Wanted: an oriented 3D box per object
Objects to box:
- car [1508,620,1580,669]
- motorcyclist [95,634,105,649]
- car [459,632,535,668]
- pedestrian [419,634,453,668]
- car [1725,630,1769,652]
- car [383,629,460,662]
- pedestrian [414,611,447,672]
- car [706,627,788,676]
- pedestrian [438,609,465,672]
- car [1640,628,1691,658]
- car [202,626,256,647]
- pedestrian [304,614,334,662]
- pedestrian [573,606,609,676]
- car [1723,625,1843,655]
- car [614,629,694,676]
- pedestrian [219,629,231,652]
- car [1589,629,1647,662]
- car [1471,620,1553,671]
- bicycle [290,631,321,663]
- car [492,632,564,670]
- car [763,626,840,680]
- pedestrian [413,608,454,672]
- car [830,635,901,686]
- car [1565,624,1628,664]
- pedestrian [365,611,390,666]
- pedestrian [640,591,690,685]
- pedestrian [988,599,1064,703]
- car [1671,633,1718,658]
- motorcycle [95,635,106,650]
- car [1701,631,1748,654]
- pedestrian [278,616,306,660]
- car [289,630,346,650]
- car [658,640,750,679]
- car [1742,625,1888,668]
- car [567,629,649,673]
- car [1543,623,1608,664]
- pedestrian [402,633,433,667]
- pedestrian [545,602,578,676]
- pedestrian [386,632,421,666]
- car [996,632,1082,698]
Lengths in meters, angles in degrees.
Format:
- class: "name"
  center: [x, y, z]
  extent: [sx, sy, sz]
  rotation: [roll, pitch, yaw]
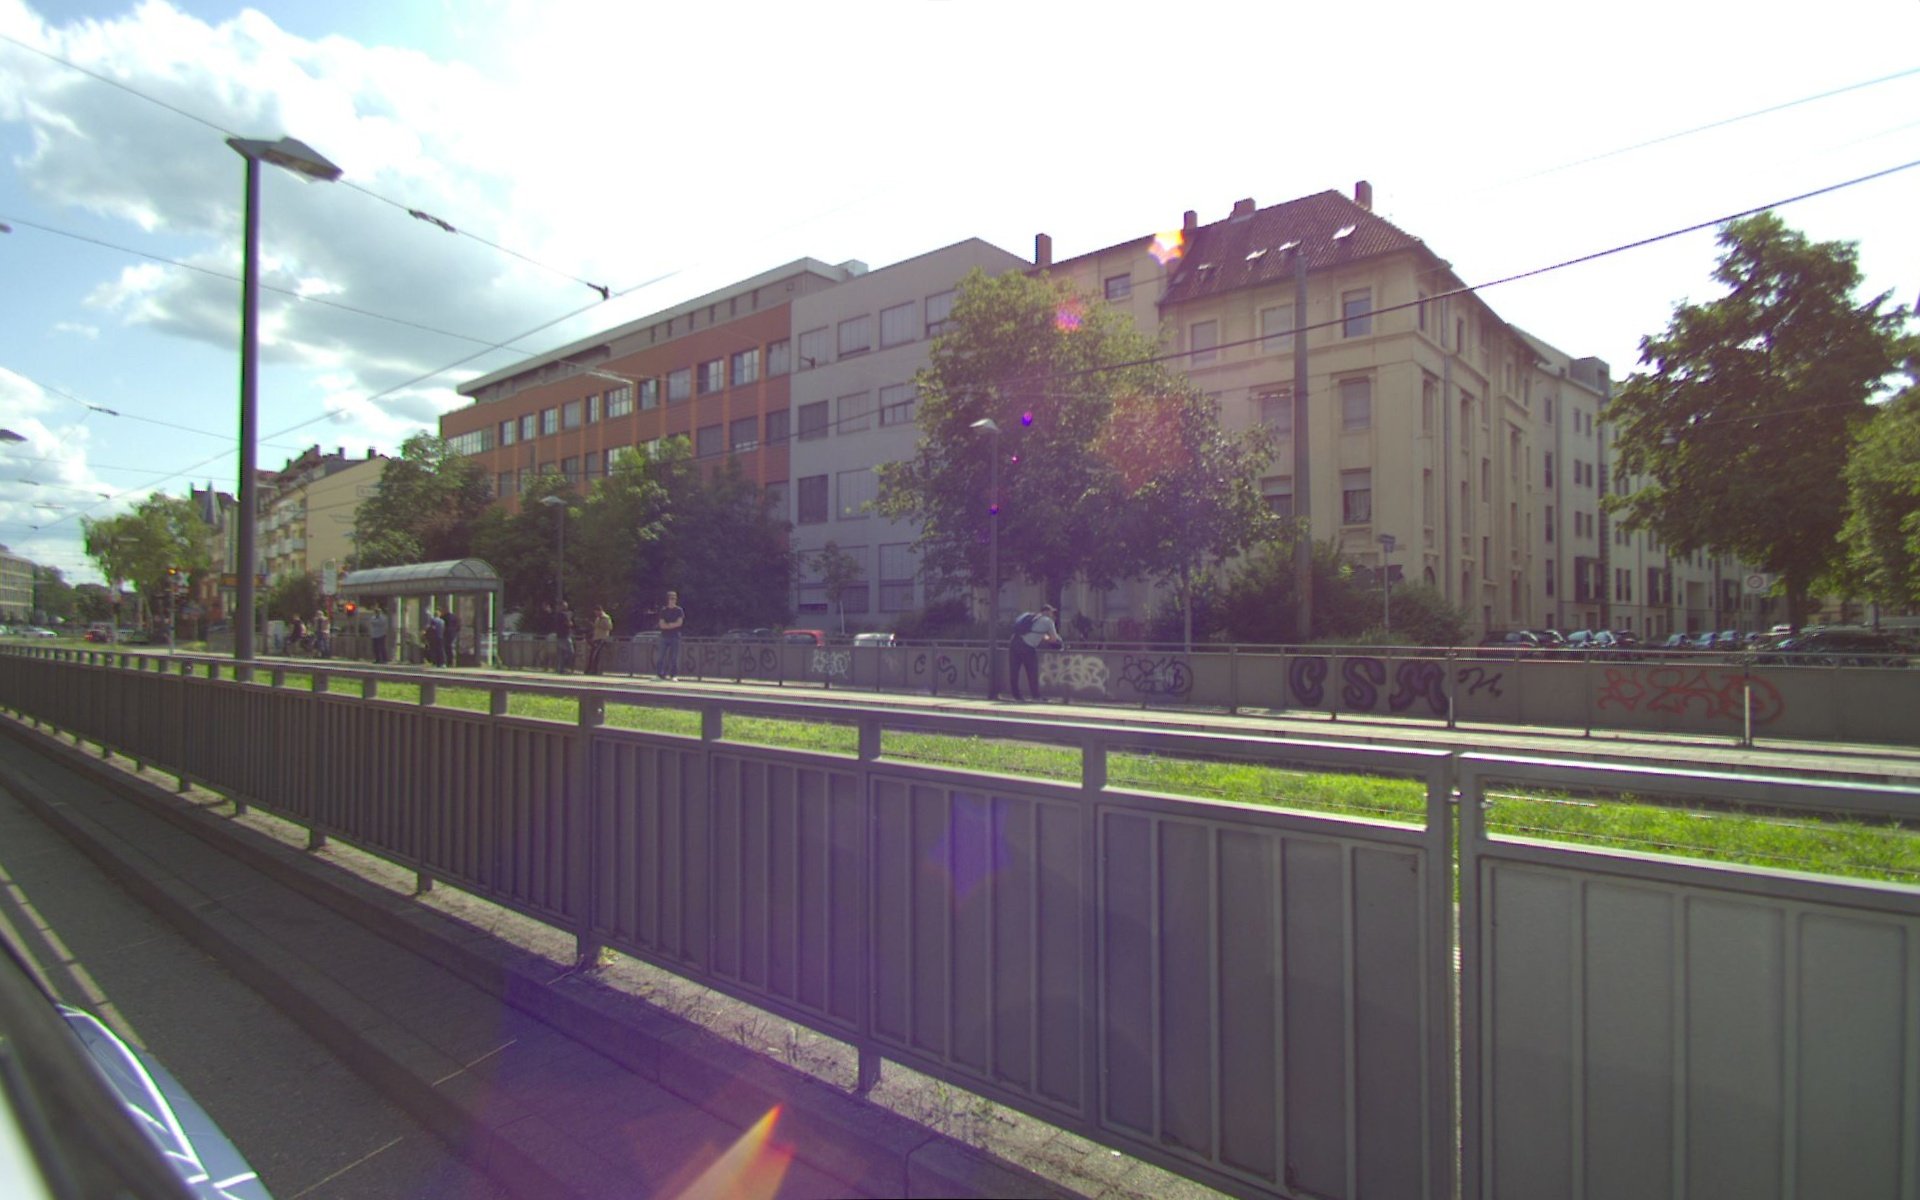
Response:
- class: "car"
  center: [23.626, 1.801, 40.909]
  extent: [1.823, 1.845, 3.945]
  rotation: [-1, -3, 41]
- class: "motorcyclist"
  center: [-85.678, 4.136, 100.848]
  extent: [0.693, 1.368, 0.654]
  rotation: [-1, 0, 43]
- class: "car"
  center: [-21.075, 2.260, 46.188]
  extent: [1.568, 1.431, 3.302]
  rotation: [-1, 0, 10]
- class: "pedestrian"
  center: [-15.894, 1.552, 30.693]
  extent: [0.562, 1.002, 0.698]
  rotation: [-1, -4, 38]
- class: "car"
  center: [58.070, 3.042, 74.644]
  extent: [3.937, 1.490, 1.827]
  rotation: [3, -3, -40]
- class: "car"
  center: [-27.663, 2.317, 52.127]
  extent: [1.850, 1.671, 3.841]
  rotation: [0, -2, 2]
- class: "pedestrian"
  center: [-14.644, 1.143, 27.993]
  extent: [0.556, 1.645, 0.593]
  rotation: [-2, -3, 27]
- class: "car"
  center: [-7.335, 1.753, 35.166]
  extent: [1.590, 1.580, 3.991]
  rotation: [-1, -2, 7]
- class: "pedestrian"
  center: [-15.052, 1.195, 29.956]
  extent: [0.623, 1.841, 0.438]
  rotation: [-1, -2, 38]
- class: "car"
  center: [41.535, 2.535, 59.561]
  extent: [3.941, 1.639, 1.825]
  rotation: [3, -3, -45]
- class: "car"
  center: [-72.625, 3.632, 100.528]
  extent: [4.195, 2.029, 2.003]
  rotation: [1, -3, -40]
- class: "pedestrian"
  center: [-23.338, 1.377, 36.852]
  extent: [0.798, 1.737, 0.632]
  rotation: [-1, -2, 38]
- class: "pedestrian"
  center: [-9.110, 0.998, 24.991]
  extent: [0.624, 1.687, 0.600]
  rotation: [-1, -2, 41]
- class: "car"
  center: [38.796, 1.883, 47.797]
  extent: [3.949, 1.376, 1.870]
  rotation: [0, -2, 5]
- class: "car"
  center: [-11.675, 1.969, 38.867]
  extent: [1.651, 1.540, 3.995]
  rotation: [-2, 0, 4]
- class: "pedestrian"
  center: [-56.832, 3.133, 78.239]
  extent: [0.481, 1.723, 0.641]
  rotation: [-2, -3, 42]
- class: "car"
  center: [34.327, 2.369, 52.797]
  extent: [1.824, 1.615, 3.942]
  rotation: [-1, -3, 44]
- class: "car"
  center: [20.180, 1.665, 36.925]
  extent: [1.823, 1.746, 3.945]
  rotation: [-1, -3, 41]
- class: "bicycle"
  center: [-23.713, 1.696, 36.674]
  extent: [0.653, 1.122, 1.880]
  rotation: [4, -4, -41]
- class: "car"
  center: [-18.692, 2.184, 43.893]
  extent: [1.651, 1.420, 3.063]
  rotation: [1, 0, 5]
- class: "car"
  center: [-5.126, 1.705, 33.298]
  extent: [1.809, 1.652, 4.134]
  rotation: [1, -2, 1]
- class: "pedestrian"
  center: [-14.875, 1.125, 28.574]
  extent: [1.035, 1.756, 0.626]
  rotation: [-1, -2, 38]
- class: "car"
  center: [-2.817, 1.809, 31.032]
  extent: [1.791, 1.402, 4.022]
  rotation: [-1, -2, 0]
- class: "car"
  center: [30.912, 2.147, 49.128]
  extent: [1.824, 1.845, 3.942]
  rotation: [-1, -3, 44]
- class: "pedestrian"
  center: [-18.533, 1.217, 32.181]
  extent: [0.623, 1.739, 0.481]
  rotation: [-1, -1, 39]
- class: "pedestrian"
  center: [-6.176, 0.784, 21.188]
  extent: [0.639, 1.906, 0.742]
  rotation: [1, 0, 43]
- class: "pedestrian"
  center: [1.051, 0.793, 16.054]
  extent: [0.798, 1.590, 0.979]
  rotation: [-1, -2, 38]
- class: "car"
  center: [47.036, 2.929, 64.819]
  extent: [3.941, 1.490, 1.825]
  rotation: [3, -3, -45]
- class: "motorcycle"
  center: [-85.703, 4.201, 100.898]
  extent: [2.010, 1.414, 0.626]
  rotation: [-1, 0, 43]
- class: "car"
  center: [52.074, 2.879, 68.938]
  extent: [3.938, 1.490, 1.826]
  rotation: [3, -3, -42]
- class: "pedestrian"
  center: [-26.772, 1.511, 40.552]
  extent: [0.798, 1.712, 0.659]
  rotation: [-1, -2, 38]
- class: "car"
  center: [-50.218, 3.111, 79.124]
  extent: [3.557, 1.491, 1.777]
  rotation: [2, -6, -43]
- class: "car"
  center: [-9.403, 2.172, 37.502]
  extent: [1.774, 1.159, 3.986]
  rotation: [-2, 0, 11]
- class: "car"
  center: [33.425, 1.807, 39.663]
  extent: [3.949, 1.630, 1.870]
  rotation: [0, -2, 5]
- class: "car"
  center: [-14.065, 1.995, 40.647]
  extent: [1.651, 1.540, 3.994]
  rotation: [-2, 0, 5]
- class: "car"
  center: [27.344, 1.943, 44.918]
  extent: [1.823, 1.731, 3.945]
  rotation: [-1, -3, 41]
- class: "pedestrian"
  center: [-17.003, 1.563, 31.730]
  extent: [0.562, 1.039, 0.647]
  rotation: [1, -3, 38]
- class: "pedestrian"
  center: [-9.631, 0.937, 24.475]
  extent: [0.599, 1.767, 0.626]
  rotation: [1, -1, -9]
- class: "pedestrian"
  center: [-17.266, 1.513, 31.392]
  extent: [0.623, 1.039, 0.712]
  rotation: [-1, -4, 38]
- class: "car"
  center: [2.005, 1.664, 26.760]
  extent: [1.899, 1.576, 4.152]
  rotation: [1, -2, 0]
